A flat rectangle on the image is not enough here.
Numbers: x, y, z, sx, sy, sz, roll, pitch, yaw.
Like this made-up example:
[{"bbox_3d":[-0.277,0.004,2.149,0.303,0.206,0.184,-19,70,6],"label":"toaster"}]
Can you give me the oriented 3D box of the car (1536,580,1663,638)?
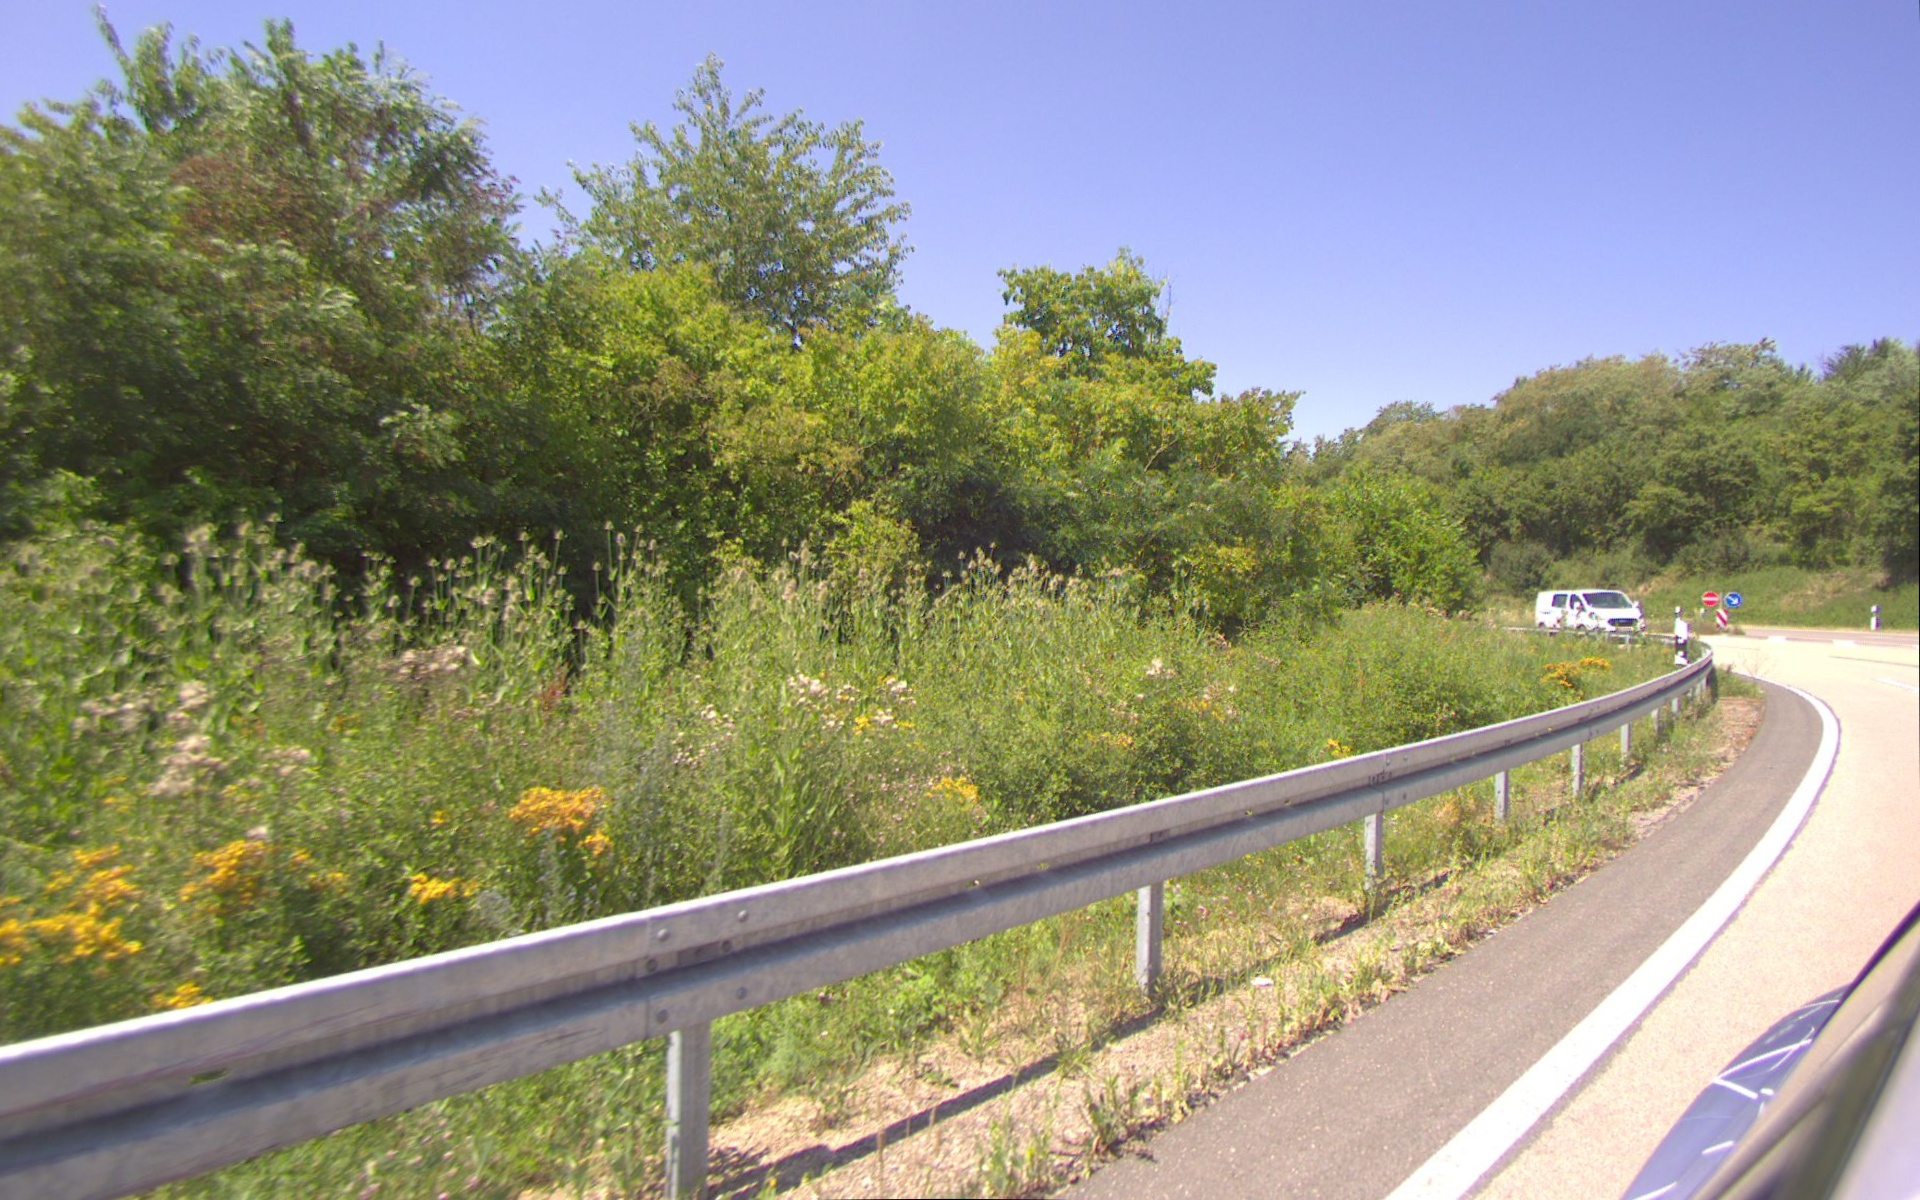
[{"bbox_3d":[24.325,0.302,38.755,2.028,2.039,5.032,-1,0,6],"label":"car"}]
